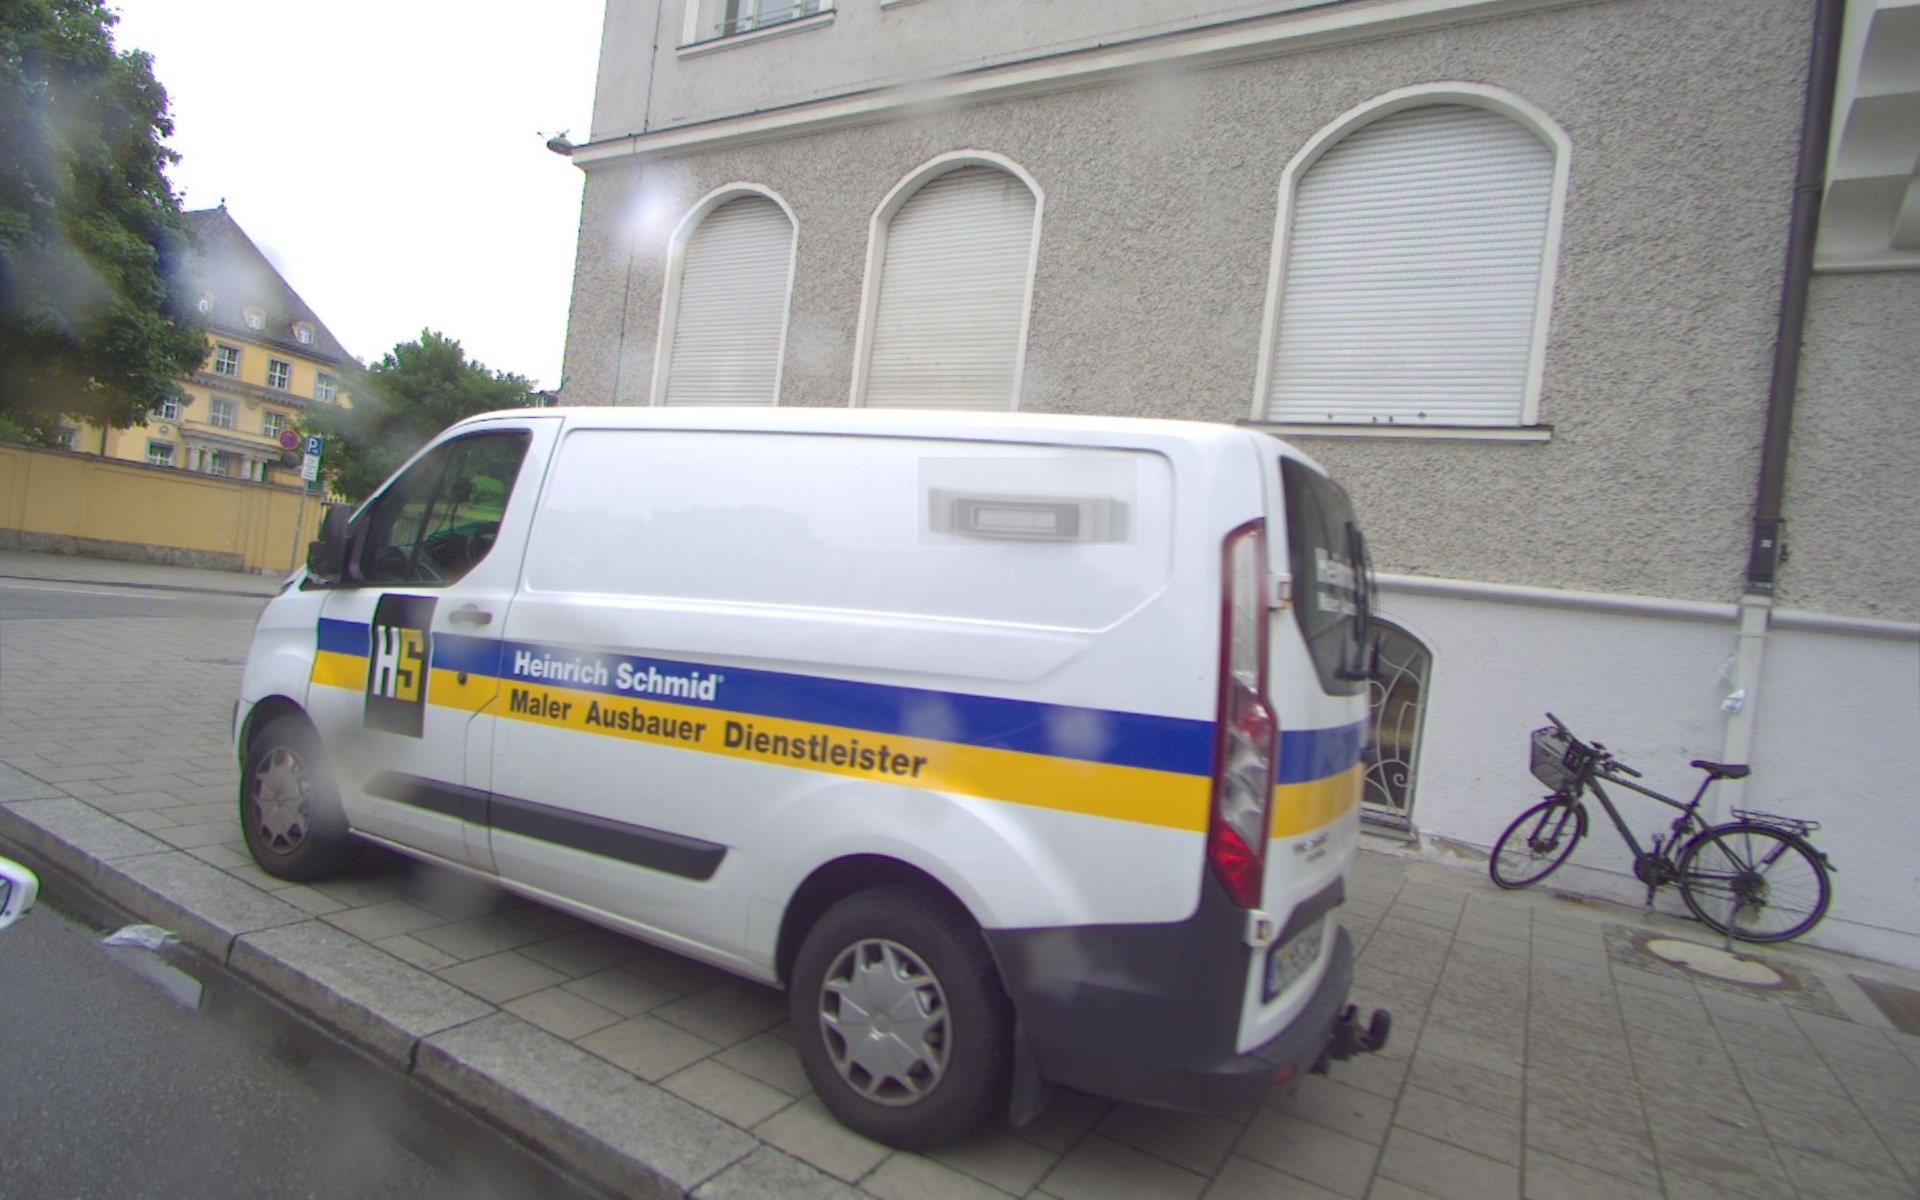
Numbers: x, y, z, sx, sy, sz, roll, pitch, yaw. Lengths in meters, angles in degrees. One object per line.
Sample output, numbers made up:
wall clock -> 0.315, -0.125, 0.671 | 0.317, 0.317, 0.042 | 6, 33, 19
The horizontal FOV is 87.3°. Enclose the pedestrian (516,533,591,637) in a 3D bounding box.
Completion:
pedestrian -> -7.715, -0.283, 19.141 | 0.983, 1.823, 0.928 | 7, 1, -10

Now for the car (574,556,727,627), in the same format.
car -> -8.799, -0.205, 28.941 | 1.766, 1.566, 3.951 | 7, 0, 30

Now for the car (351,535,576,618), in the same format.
car -> -11.567, -0.492, 23.771 | 1.771, 1.385, 4.458 | 7, 0, 30

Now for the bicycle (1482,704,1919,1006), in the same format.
bicycle -> 4.504, 1.385, 5.589 | 2.710, 1.128, 0.839 | 7, 4, 30

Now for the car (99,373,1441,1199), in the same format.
car -> -1.090, 0.280, 4.155 | 5.282, 1.947, 1.941 | 7, 1, 29
